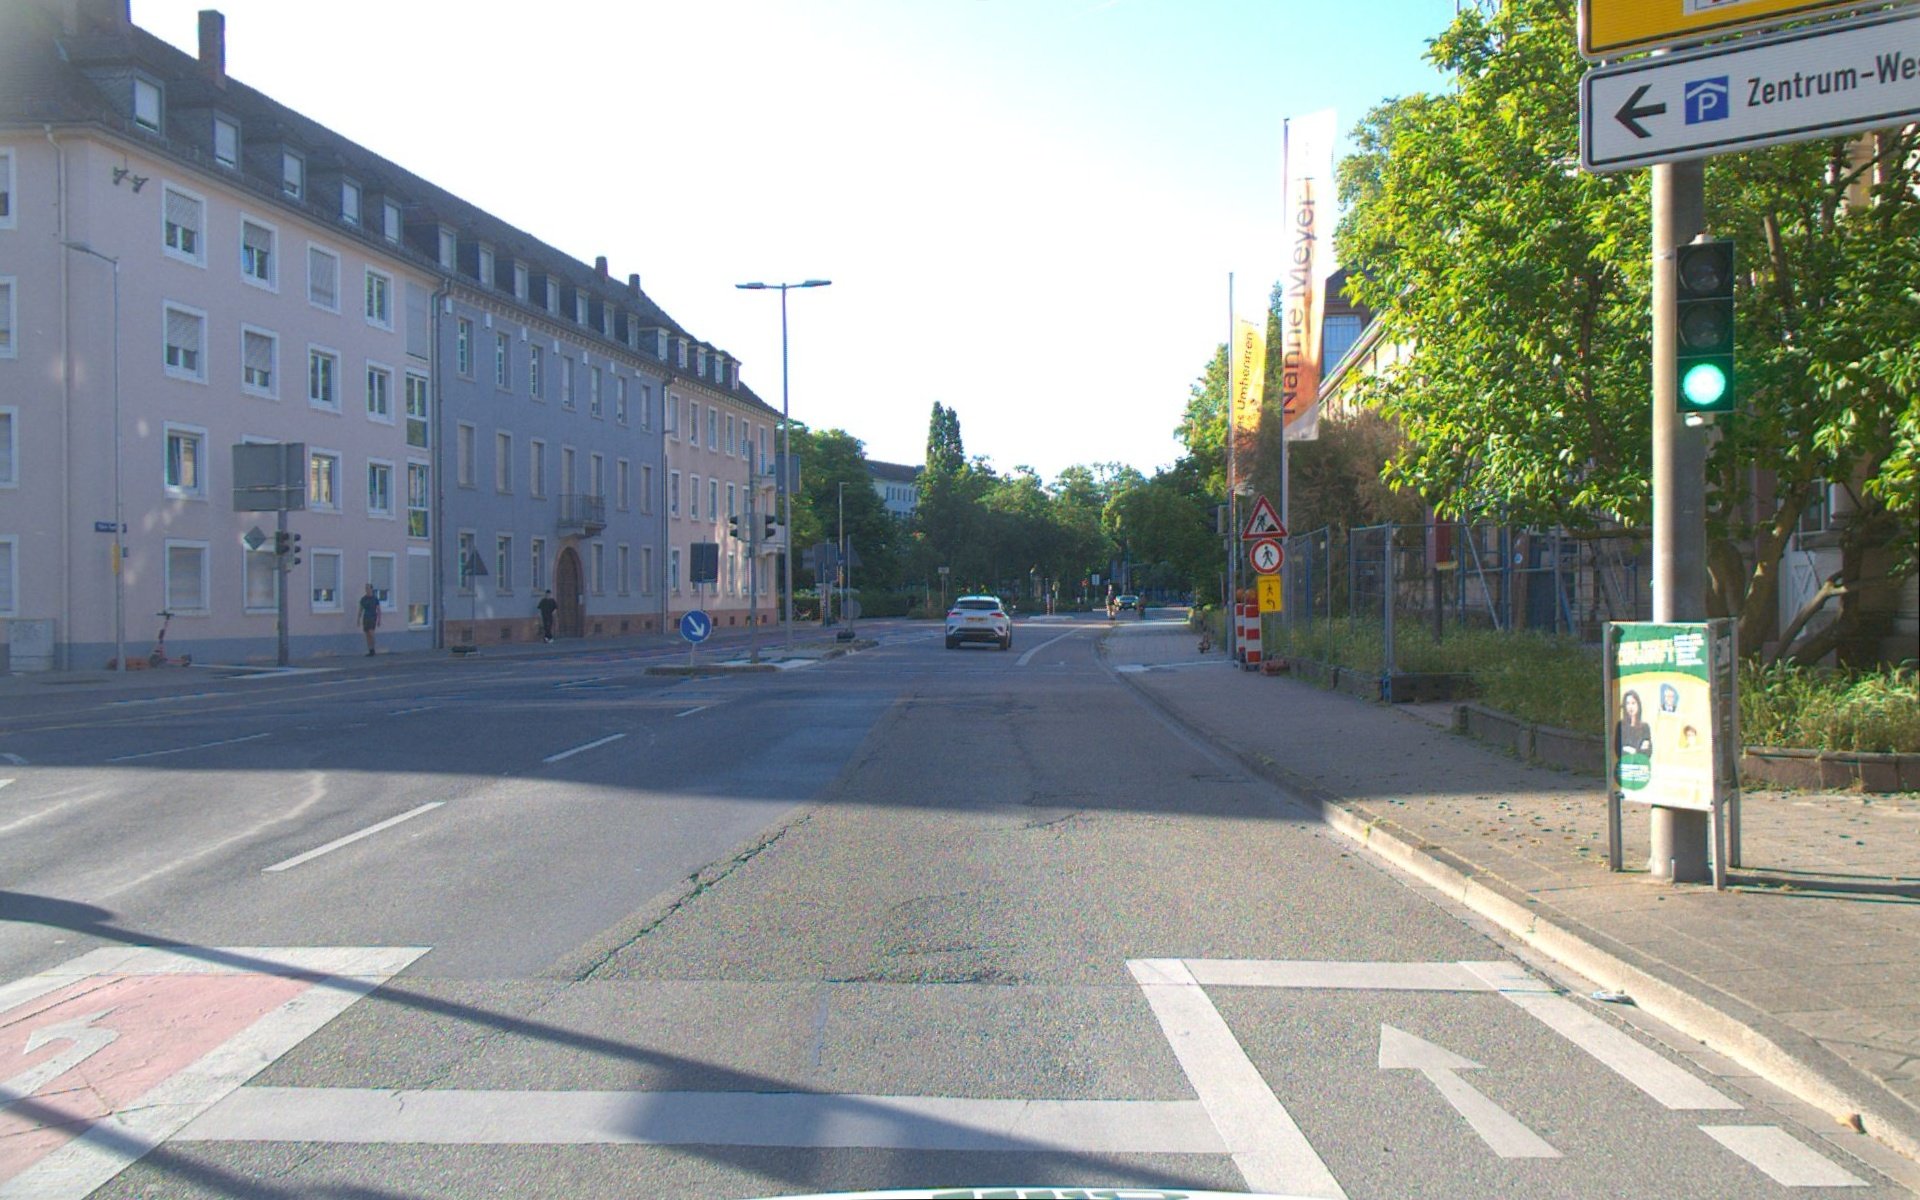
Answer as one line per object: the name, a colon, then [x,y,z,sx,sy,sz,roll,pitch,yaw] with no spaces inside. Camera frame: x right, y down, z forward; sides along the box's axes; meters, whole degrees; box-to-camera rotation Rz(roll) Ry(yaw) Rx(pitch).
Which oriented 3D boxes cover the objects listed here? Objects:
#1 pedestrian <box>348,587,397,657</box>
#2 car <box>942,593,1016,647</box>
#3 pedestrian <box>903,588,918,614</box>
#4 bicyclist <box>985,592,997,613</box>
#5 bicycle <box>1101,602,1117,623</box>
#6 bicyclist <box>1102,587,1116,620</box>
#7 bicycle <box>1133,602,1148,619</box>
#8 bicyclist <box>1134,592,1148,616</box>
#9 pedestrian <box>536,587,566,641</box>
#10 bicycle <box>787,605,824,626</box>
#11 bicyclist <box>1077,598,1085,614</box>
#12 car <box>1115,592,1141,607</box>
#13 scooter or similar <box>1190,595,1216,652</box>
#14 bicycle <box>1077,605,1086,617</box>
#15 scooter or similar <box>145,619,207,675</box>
pedestrian: [-16.244,0.601,45.748,0.849,1.896,1.016,2,0,8]
car: [0.598,0.577,48.441,1.952,1.478,4.002,-1,0,3]
pedestrian: [-3.632,0.063,122.492,0.837,1.884,1.002,-1,0,13]
bicyclist: [2.290,0.151,121.709,0.722,1.511,0.665,-2,-1,12]
bicycle: [7.536,0.622,83.454,0.629,1.042,2.214,1,0,9]
bicyclist: [7.518,0.173,83.368,0.622,1.642,1.285,0,0,9]
bicycle: [11.808,0.690,108.060,0.737,1.044,1.870,0,-1,15]
bicyclist: [11.848,0.291,108.217,0.731,1.564,0.970,0,0,15]
pedestrian: [-14.537,0.507,58.798,0.618,1.878,1.014,2,0,7]
bicycle: [-9.795,0.987,105.162,2.270,1.251,0.560,-1,0,14]
bicyclist: [11.682,0.565,159.418,0.616,1.549,0.725,-4,0,12]
car: [16.819,-0.021,165.161,1.773,1.444,4.557,-1,0,16]
scooter or similar: [5.900,0.555,40.194,0.543,1.331,1.833,-1,0,6]
bicycle: [11.700,1.050,159.380,0.584,1.140,2.029,-4,-1,12]
scooter or similar: [-17.579,1.038,37.128,0.522,1.206,1.475,0,0,8]
